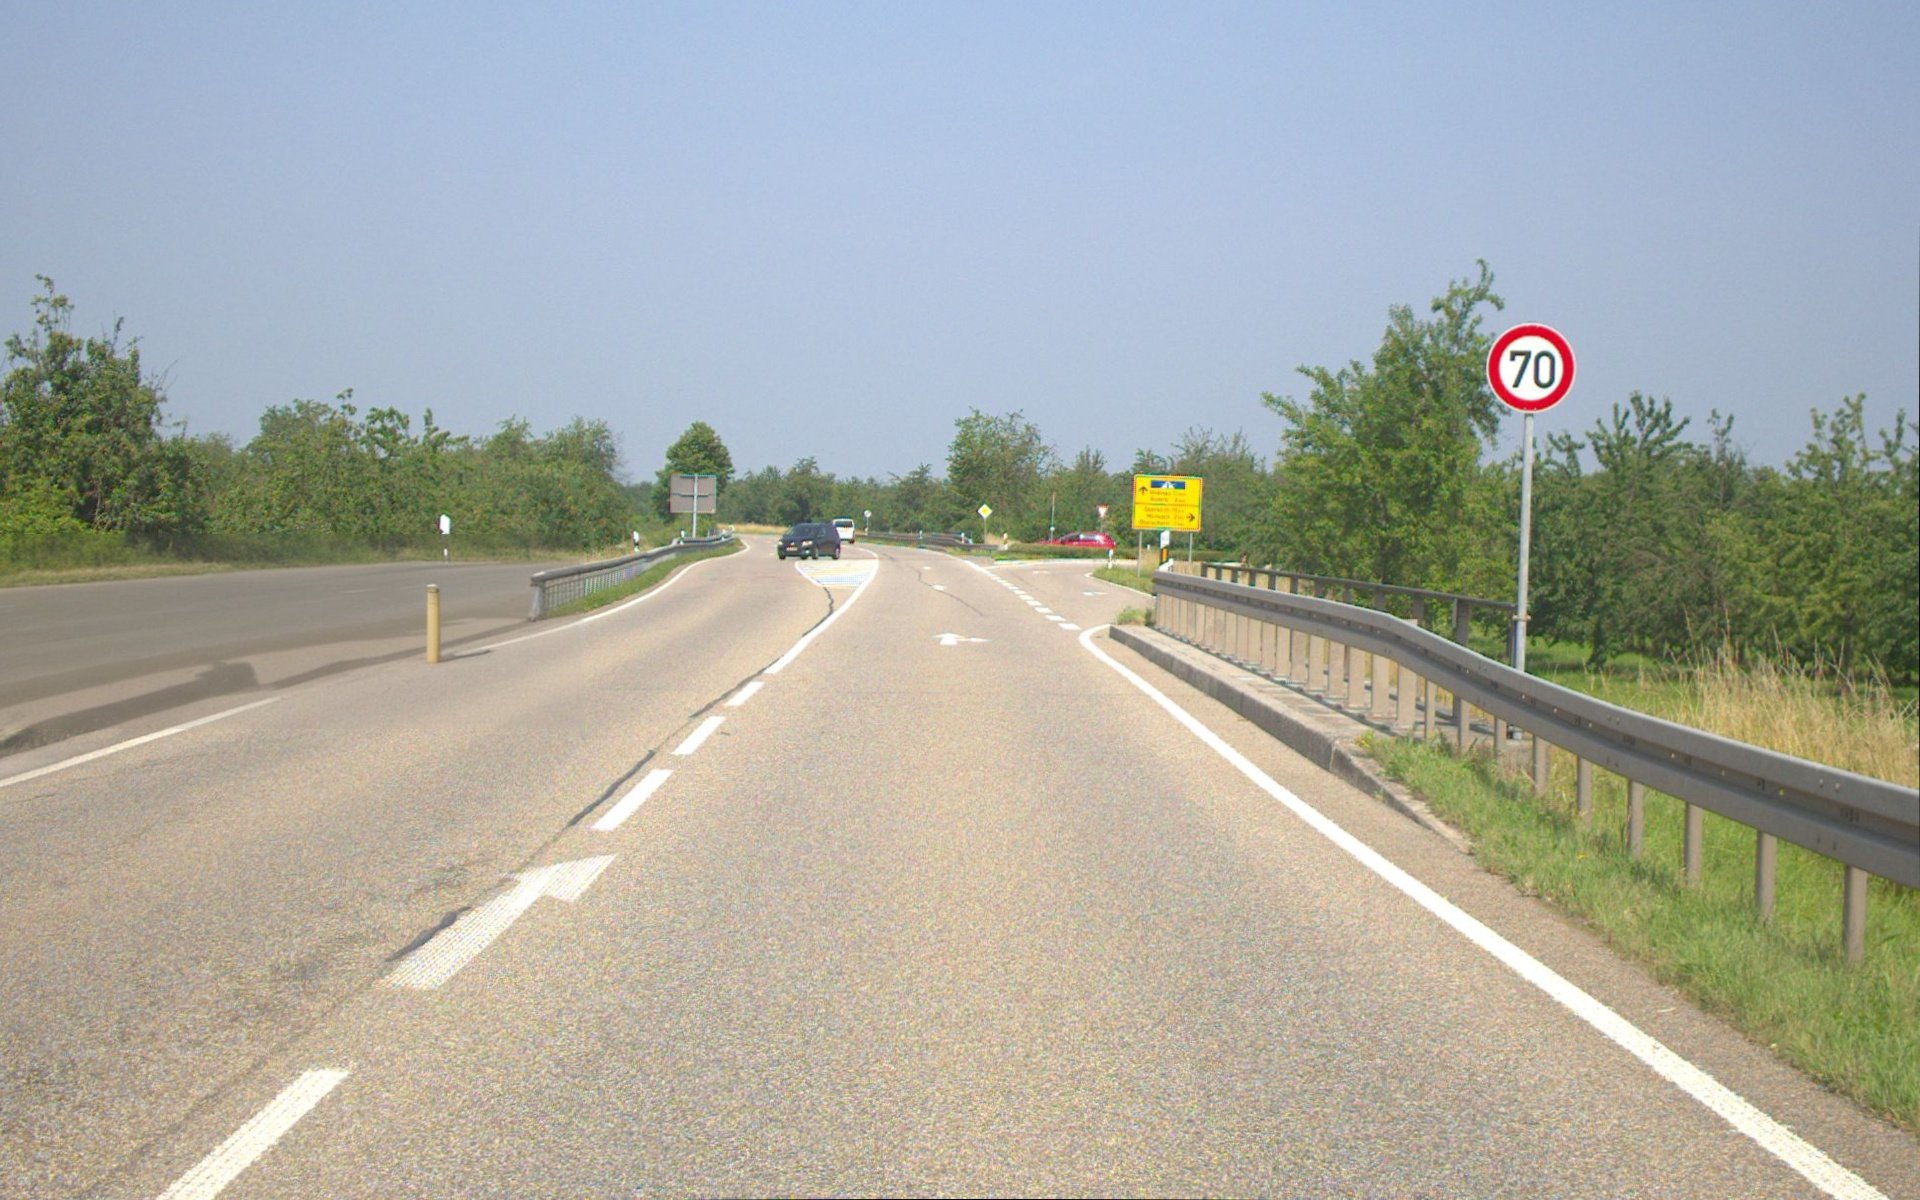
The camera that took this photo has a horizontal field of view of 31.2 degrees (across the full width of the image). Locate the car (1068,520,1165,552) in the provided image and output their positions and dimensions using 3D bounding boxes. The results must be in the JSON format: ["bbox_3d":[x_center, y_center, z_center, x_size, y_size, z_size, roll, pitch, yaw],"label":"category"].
[{"bbox_3d":[7.571,-3.101,166.456,4.482,1.444,1.821,1,1,9],"label":"car"}]

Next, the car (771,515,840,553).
[{"bbox_3d":[-6.868,-2.929,153.379,1.805,1.632,4.806,1,1,14],"label":"car"}]
